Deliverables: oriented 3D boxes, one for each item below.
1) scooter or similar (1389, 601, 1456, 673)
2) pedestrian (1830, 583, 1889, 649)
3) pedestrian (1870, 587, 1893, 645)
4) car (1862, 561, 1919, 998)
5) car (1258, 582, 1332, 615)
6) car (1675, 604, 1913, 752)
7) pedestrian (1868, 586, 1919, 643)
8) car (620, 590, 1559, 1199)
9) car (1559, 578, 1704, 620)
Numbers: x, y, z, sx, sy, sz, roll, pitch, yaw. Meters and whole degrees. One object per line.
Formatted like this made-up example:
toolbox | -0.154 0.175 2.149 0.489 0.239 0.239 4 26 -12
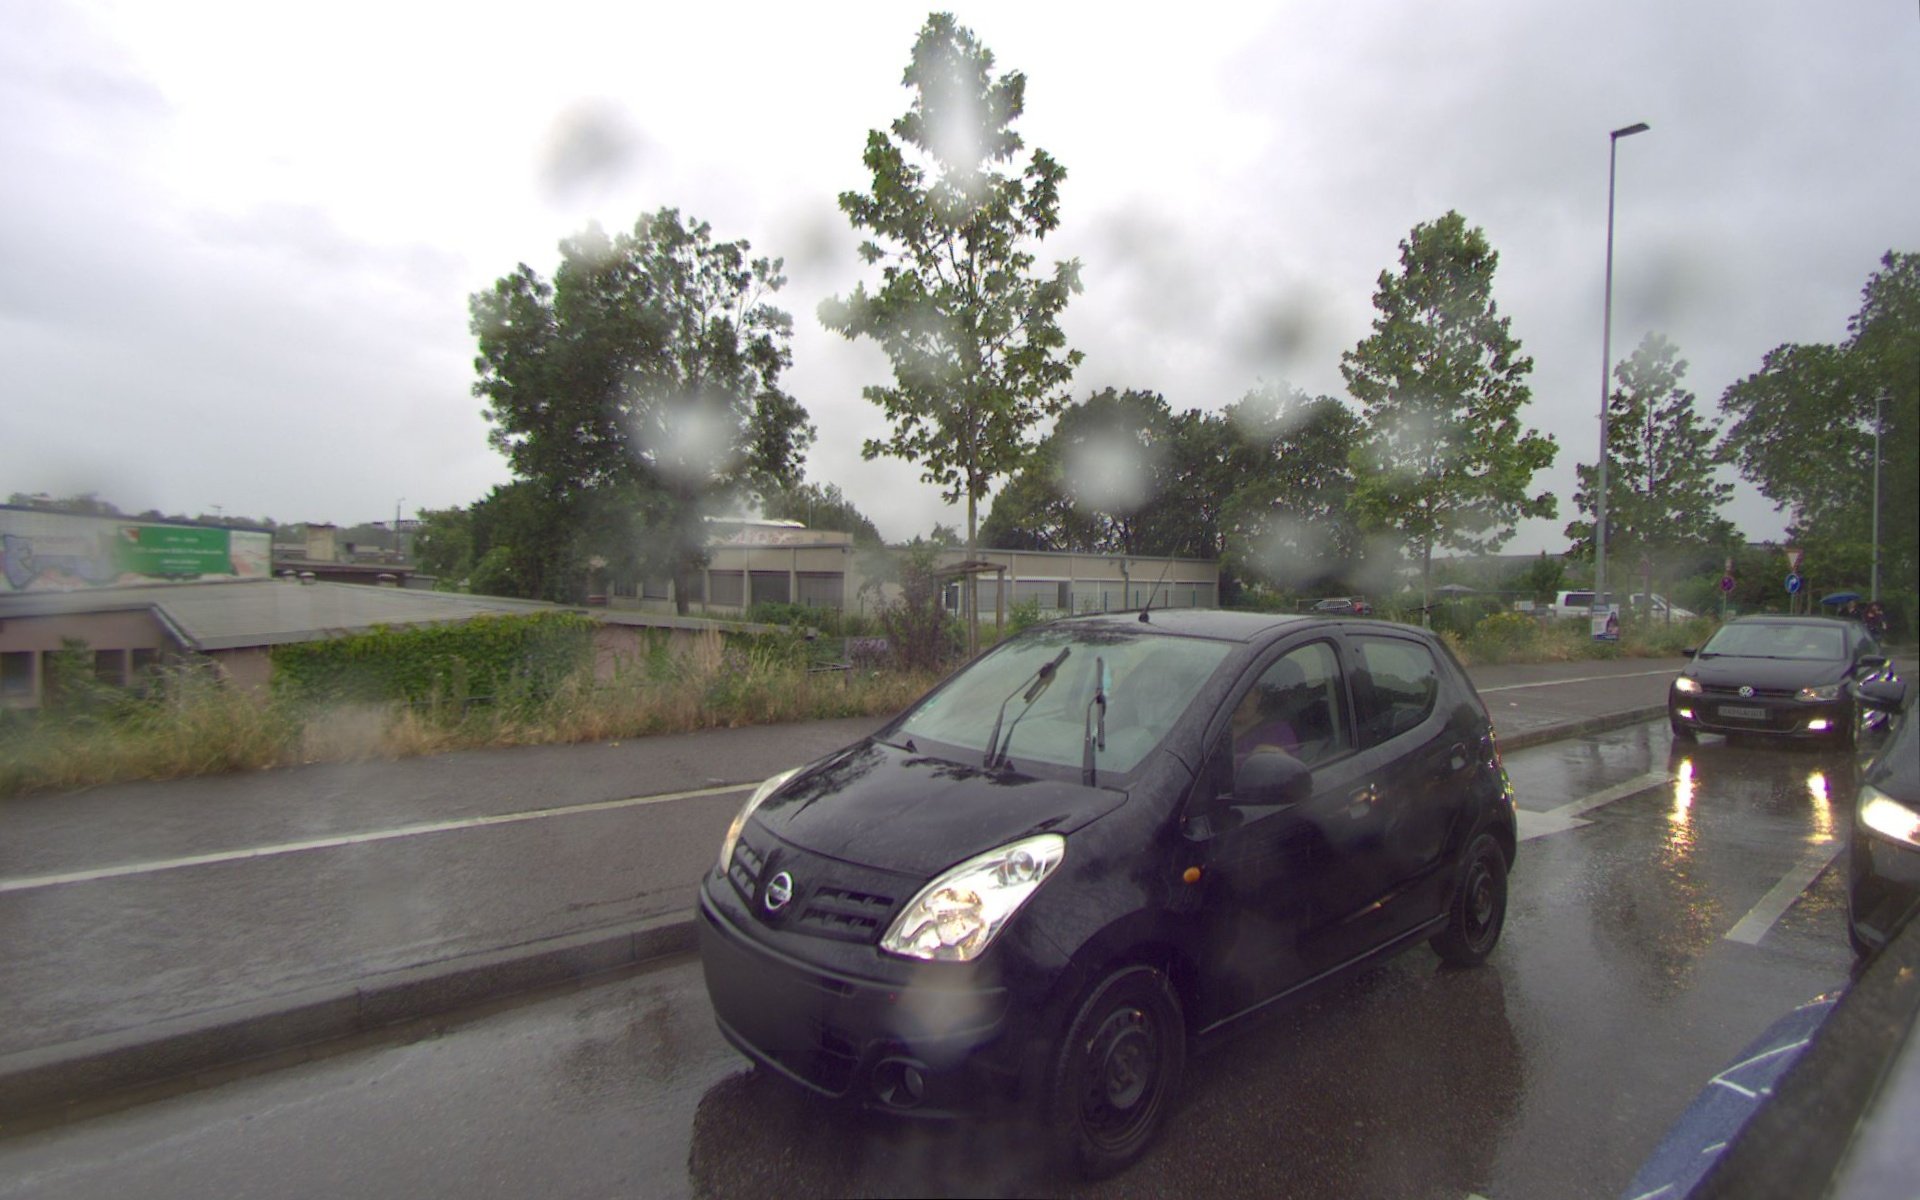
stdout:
scooter or similar | 7.905 0.607 17.253 1.747 1.144 0.380 -1 2 -43
pedestrian | 25.339 0.430 28.498 0.953 1.777 1.081 0 3 -42
pedestrian | 27.363 0.477 30.047 0.433 1.682 0.400 0 3 -42
car | 5.516 0.640 4.537 4.091 1.607 1.688 -1 0 -41
car | 20.999 -0.110 63.483 1.964 2.039 3.996 0 0 -38
car | 9.773 0.784 11.781 3.561 1.447 1.631 0 0 -42
pedestrian | 29.420 0.433 31.890 0.876 1.729 1.024 0 3 -41
car | 0.763 0.709 3.855 3.561 1.447 1.631 0 0 -42
car | 28.071 -0.068 42.417 1.966 1.670 4.752 -1 1 -42
